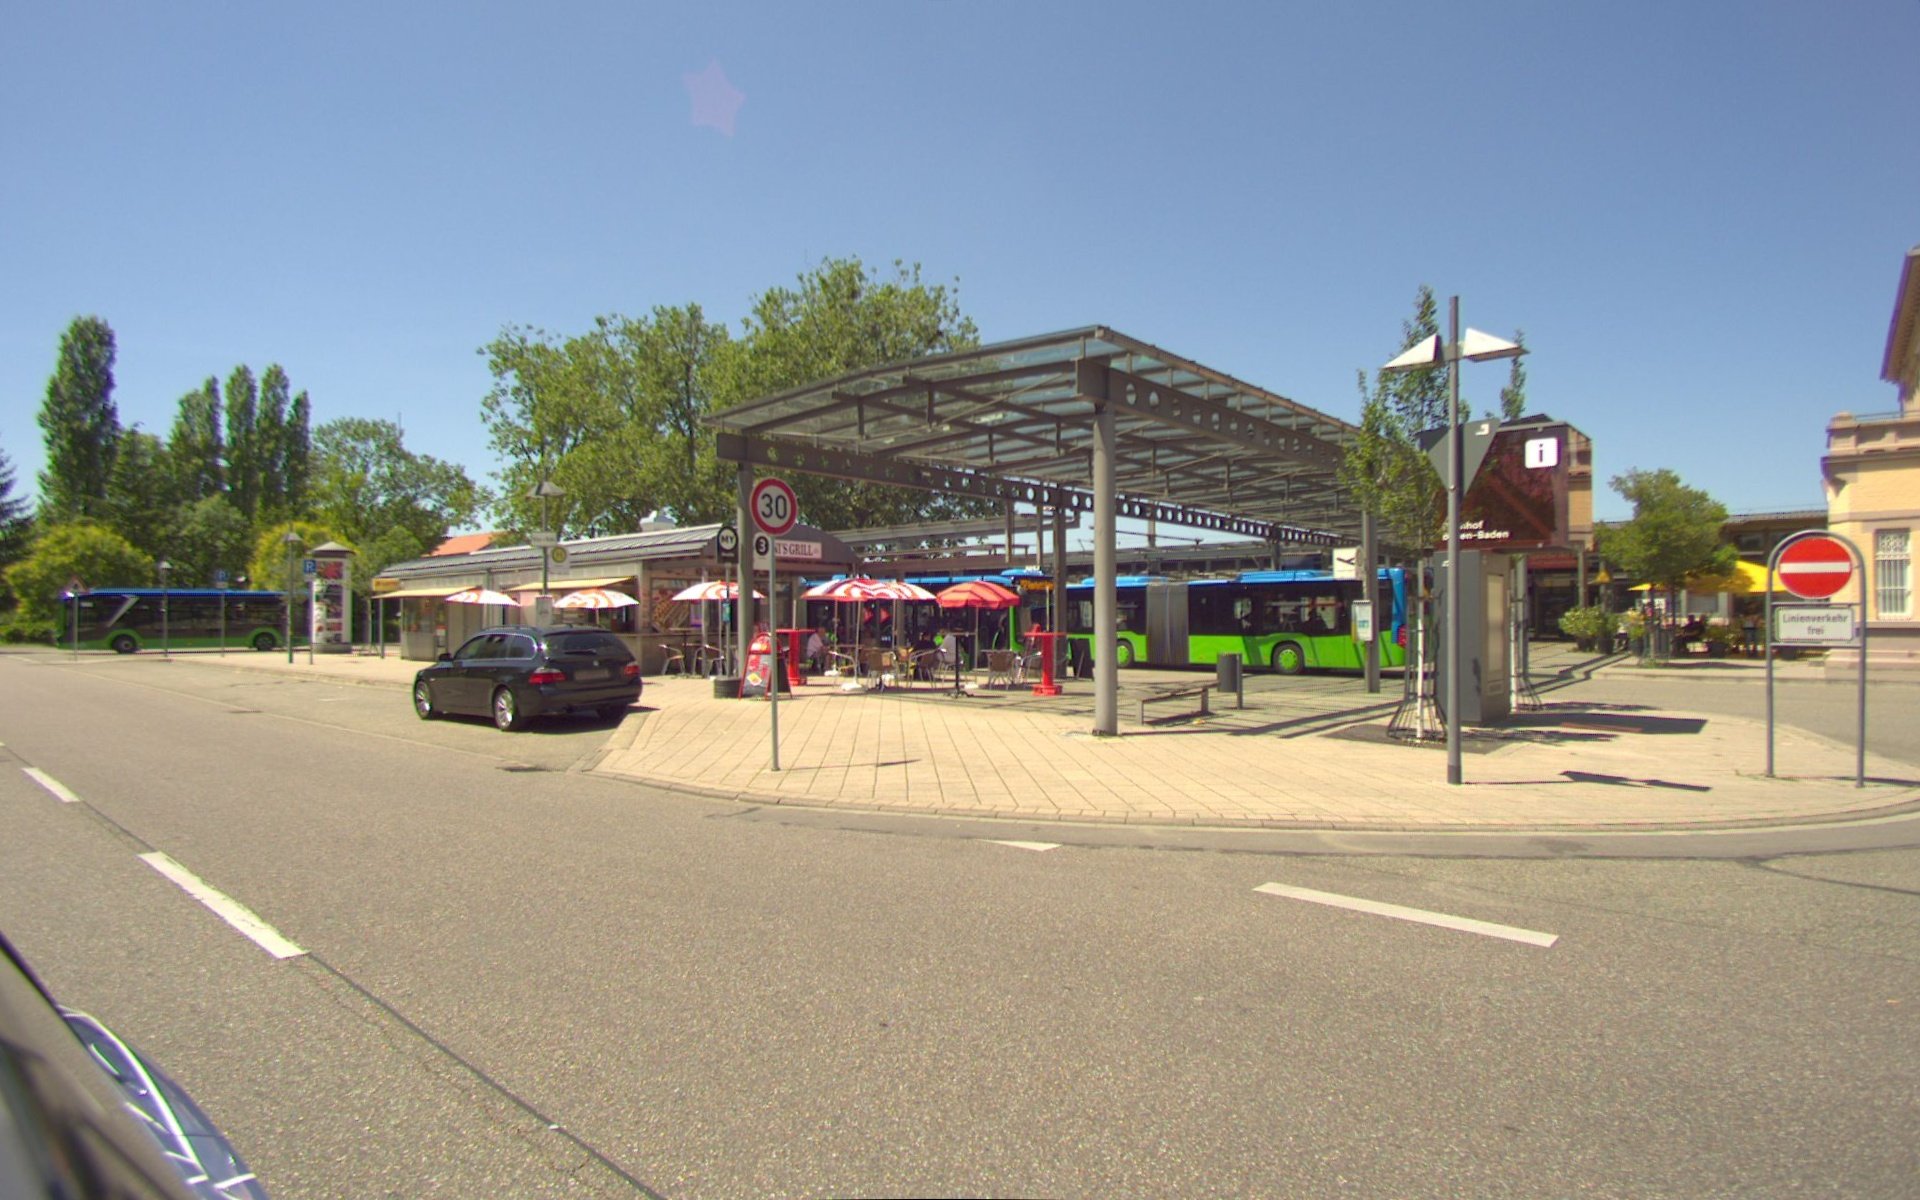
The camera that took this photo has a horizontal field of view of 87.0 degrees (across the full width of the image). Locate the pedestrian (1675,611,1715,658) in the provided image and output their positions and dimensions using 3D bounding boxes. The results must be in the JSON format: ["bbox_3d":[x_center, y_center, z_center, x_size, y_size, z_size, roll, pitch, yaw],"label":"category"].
[{"bbox_3d":[24.005,1.127,33.084,0.957,1.488,0.890,-2,-2,32],"label":"pedestrian"}]

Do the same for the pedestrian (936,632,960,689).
[{"bbox_3d":[-0.238,1.218,20.450,0.365,1.131,0.427,1,-1,-15],"label":"pedestrian"}]

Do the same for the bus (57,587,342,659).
[{"bbox_3d":[-40.017,1.149,54.028,12.015,3.553,2.175,0,-1,-32],"label":"bus"}]

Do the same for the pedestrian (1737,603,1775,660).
[{"bbox_3d":[24.454,0.974,31.102,0.777,1.698,0.659,-3,-3,34],"label":"pedestrian"}]

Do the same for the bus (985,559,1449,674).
[{"bbox_3d":[7.466,0.665,33.418,15.520,3.060,2.835,-2,-2,44],"label":"bus"}]

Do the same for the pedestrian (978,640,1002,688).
[{"bbox_3d":[0.606,1.294,20.445,0.421,0.930,0.370,1,0,12],"label":"pedestrian"}]

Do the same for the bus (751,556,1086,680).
[{"bbox_3d":[-1.784,0.636,31.672,11.844,3.258,2.933,-2,-2,42],"label":"bus"}]

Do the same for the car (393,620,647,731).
[{"bbox_3d":[-6.969,1.070,15.779,4.782,1.490,1.701,-1,-2,40],"label":"car"}]
